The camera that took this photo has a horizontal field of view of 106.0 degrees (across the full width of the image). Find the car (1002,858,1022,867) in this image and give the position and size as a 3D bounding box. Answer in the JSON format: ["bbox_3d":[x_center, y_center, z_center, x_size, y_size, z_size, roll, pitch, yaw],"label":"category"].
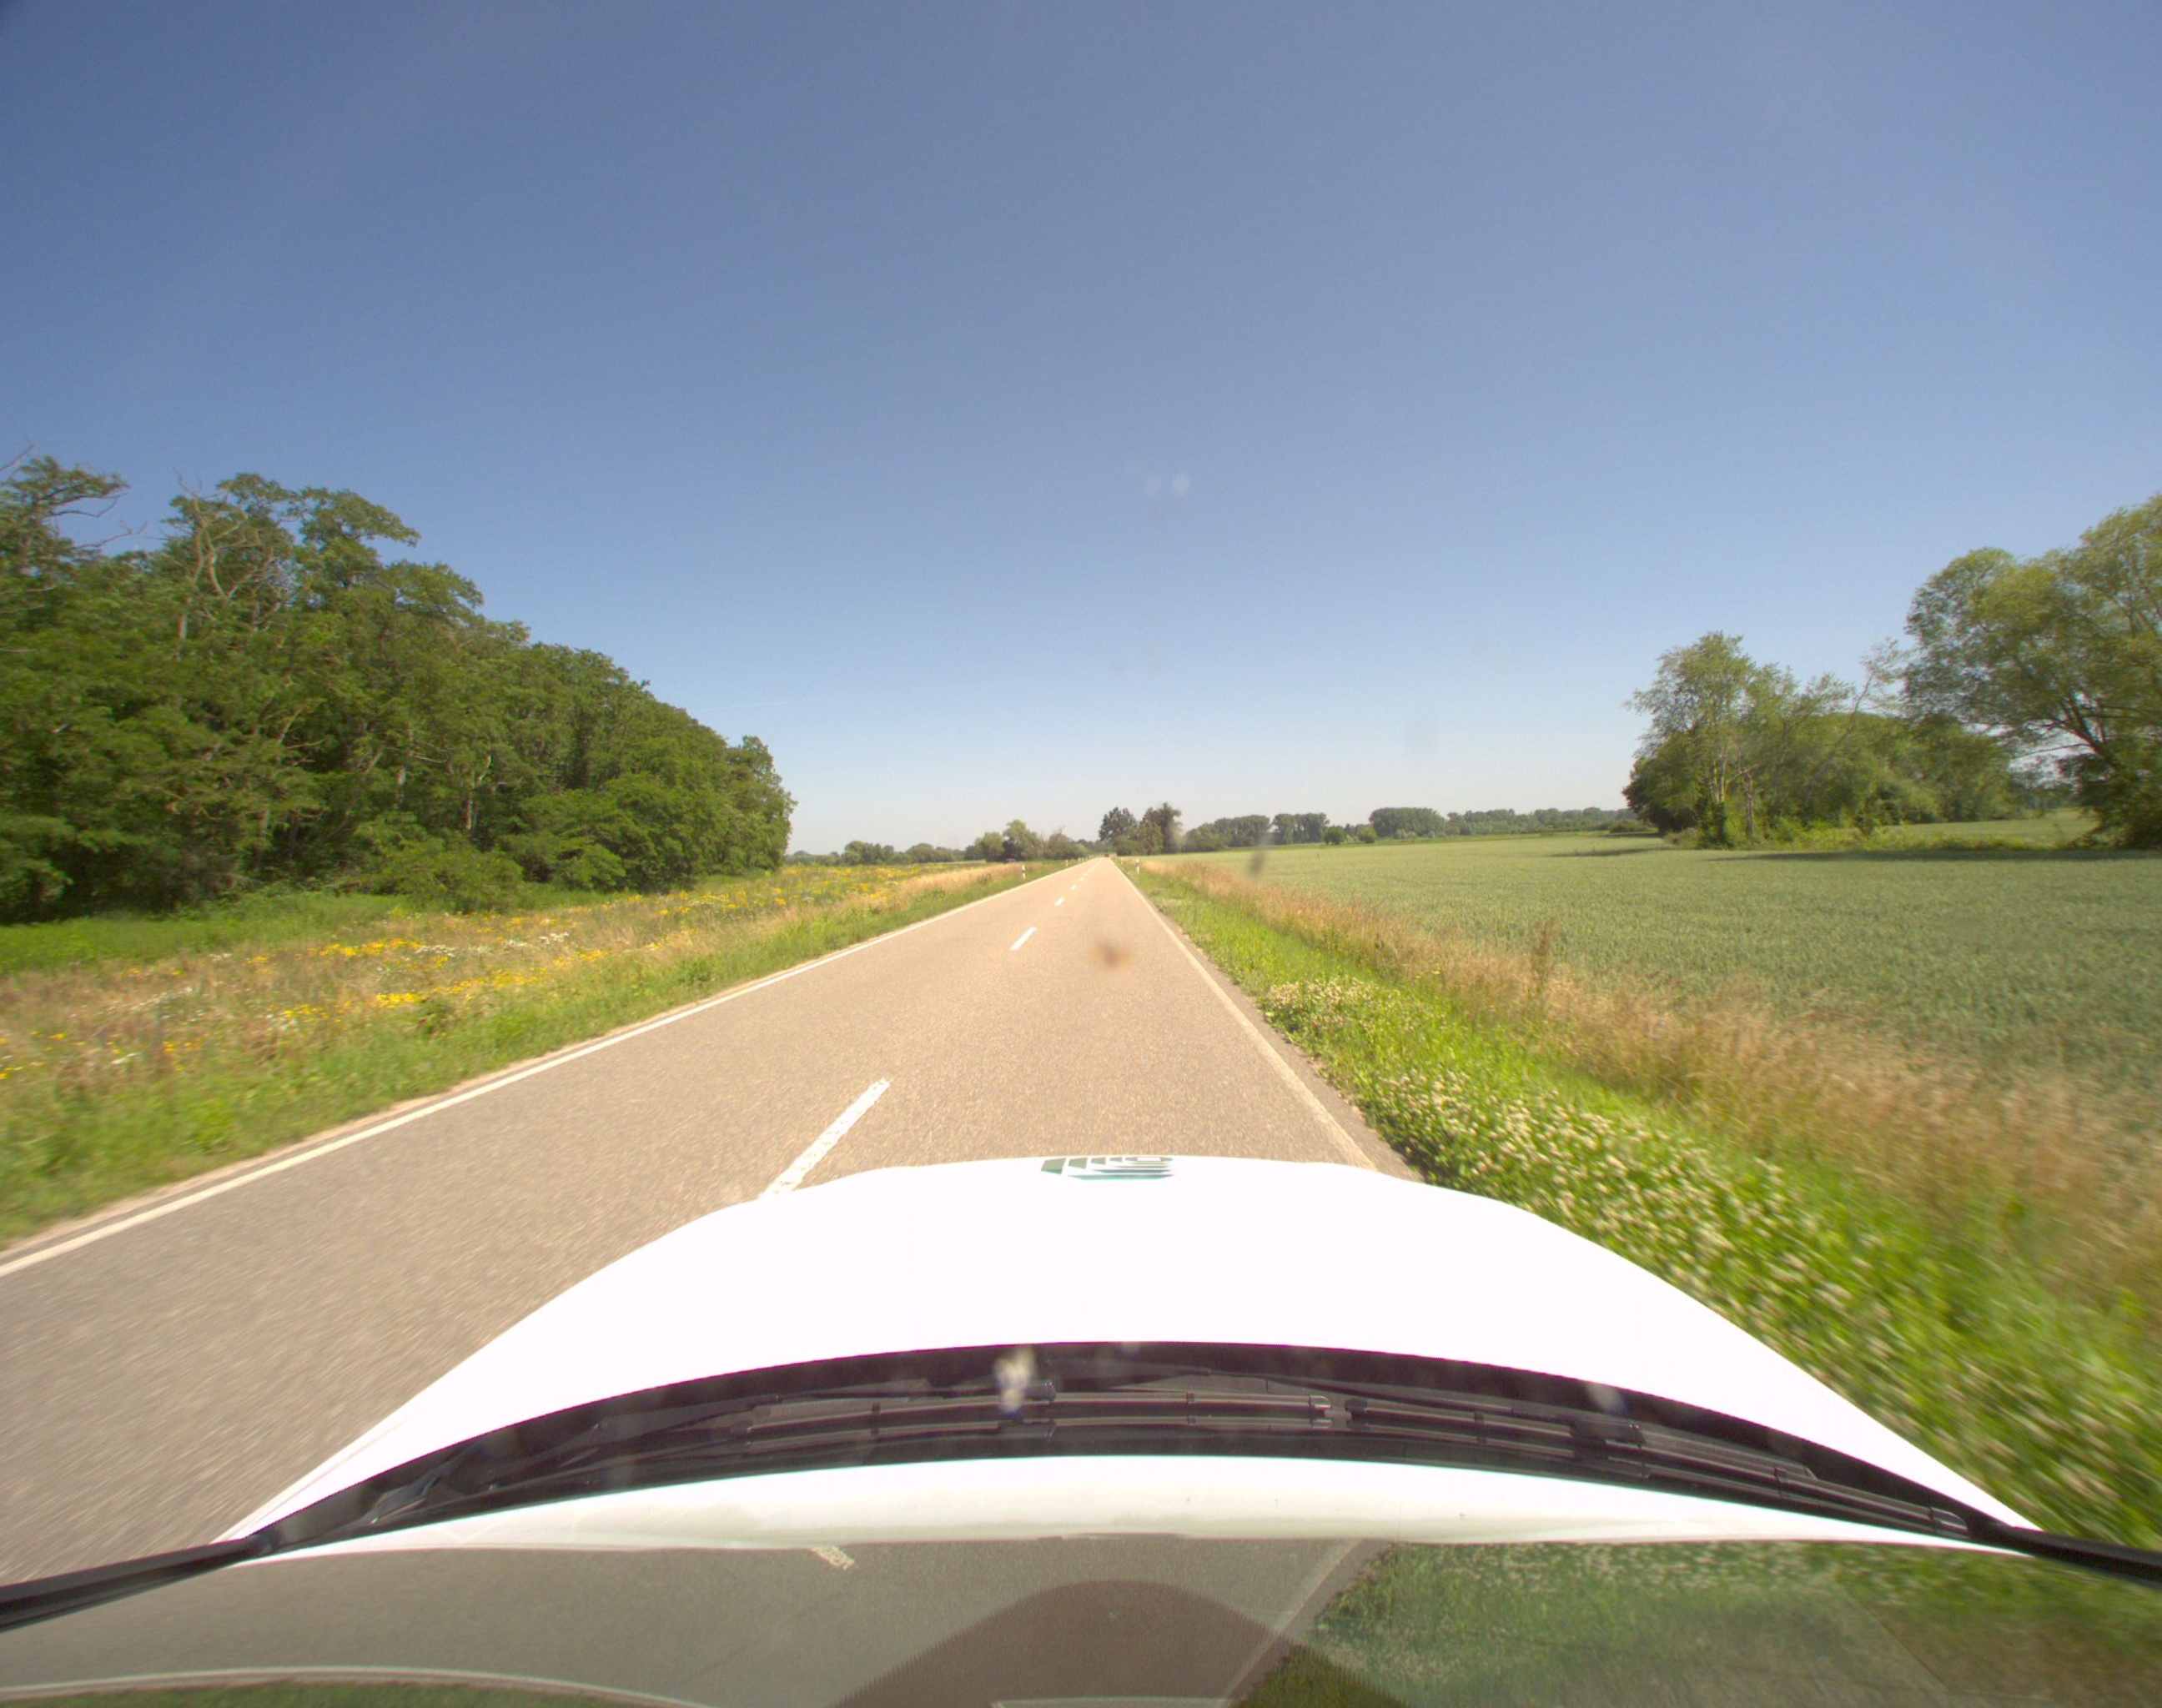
[{"bbox_3d":[-14.198,1.823,168.099,1.736,1.651,4.557,-3,0,27],"label":"car"}]
